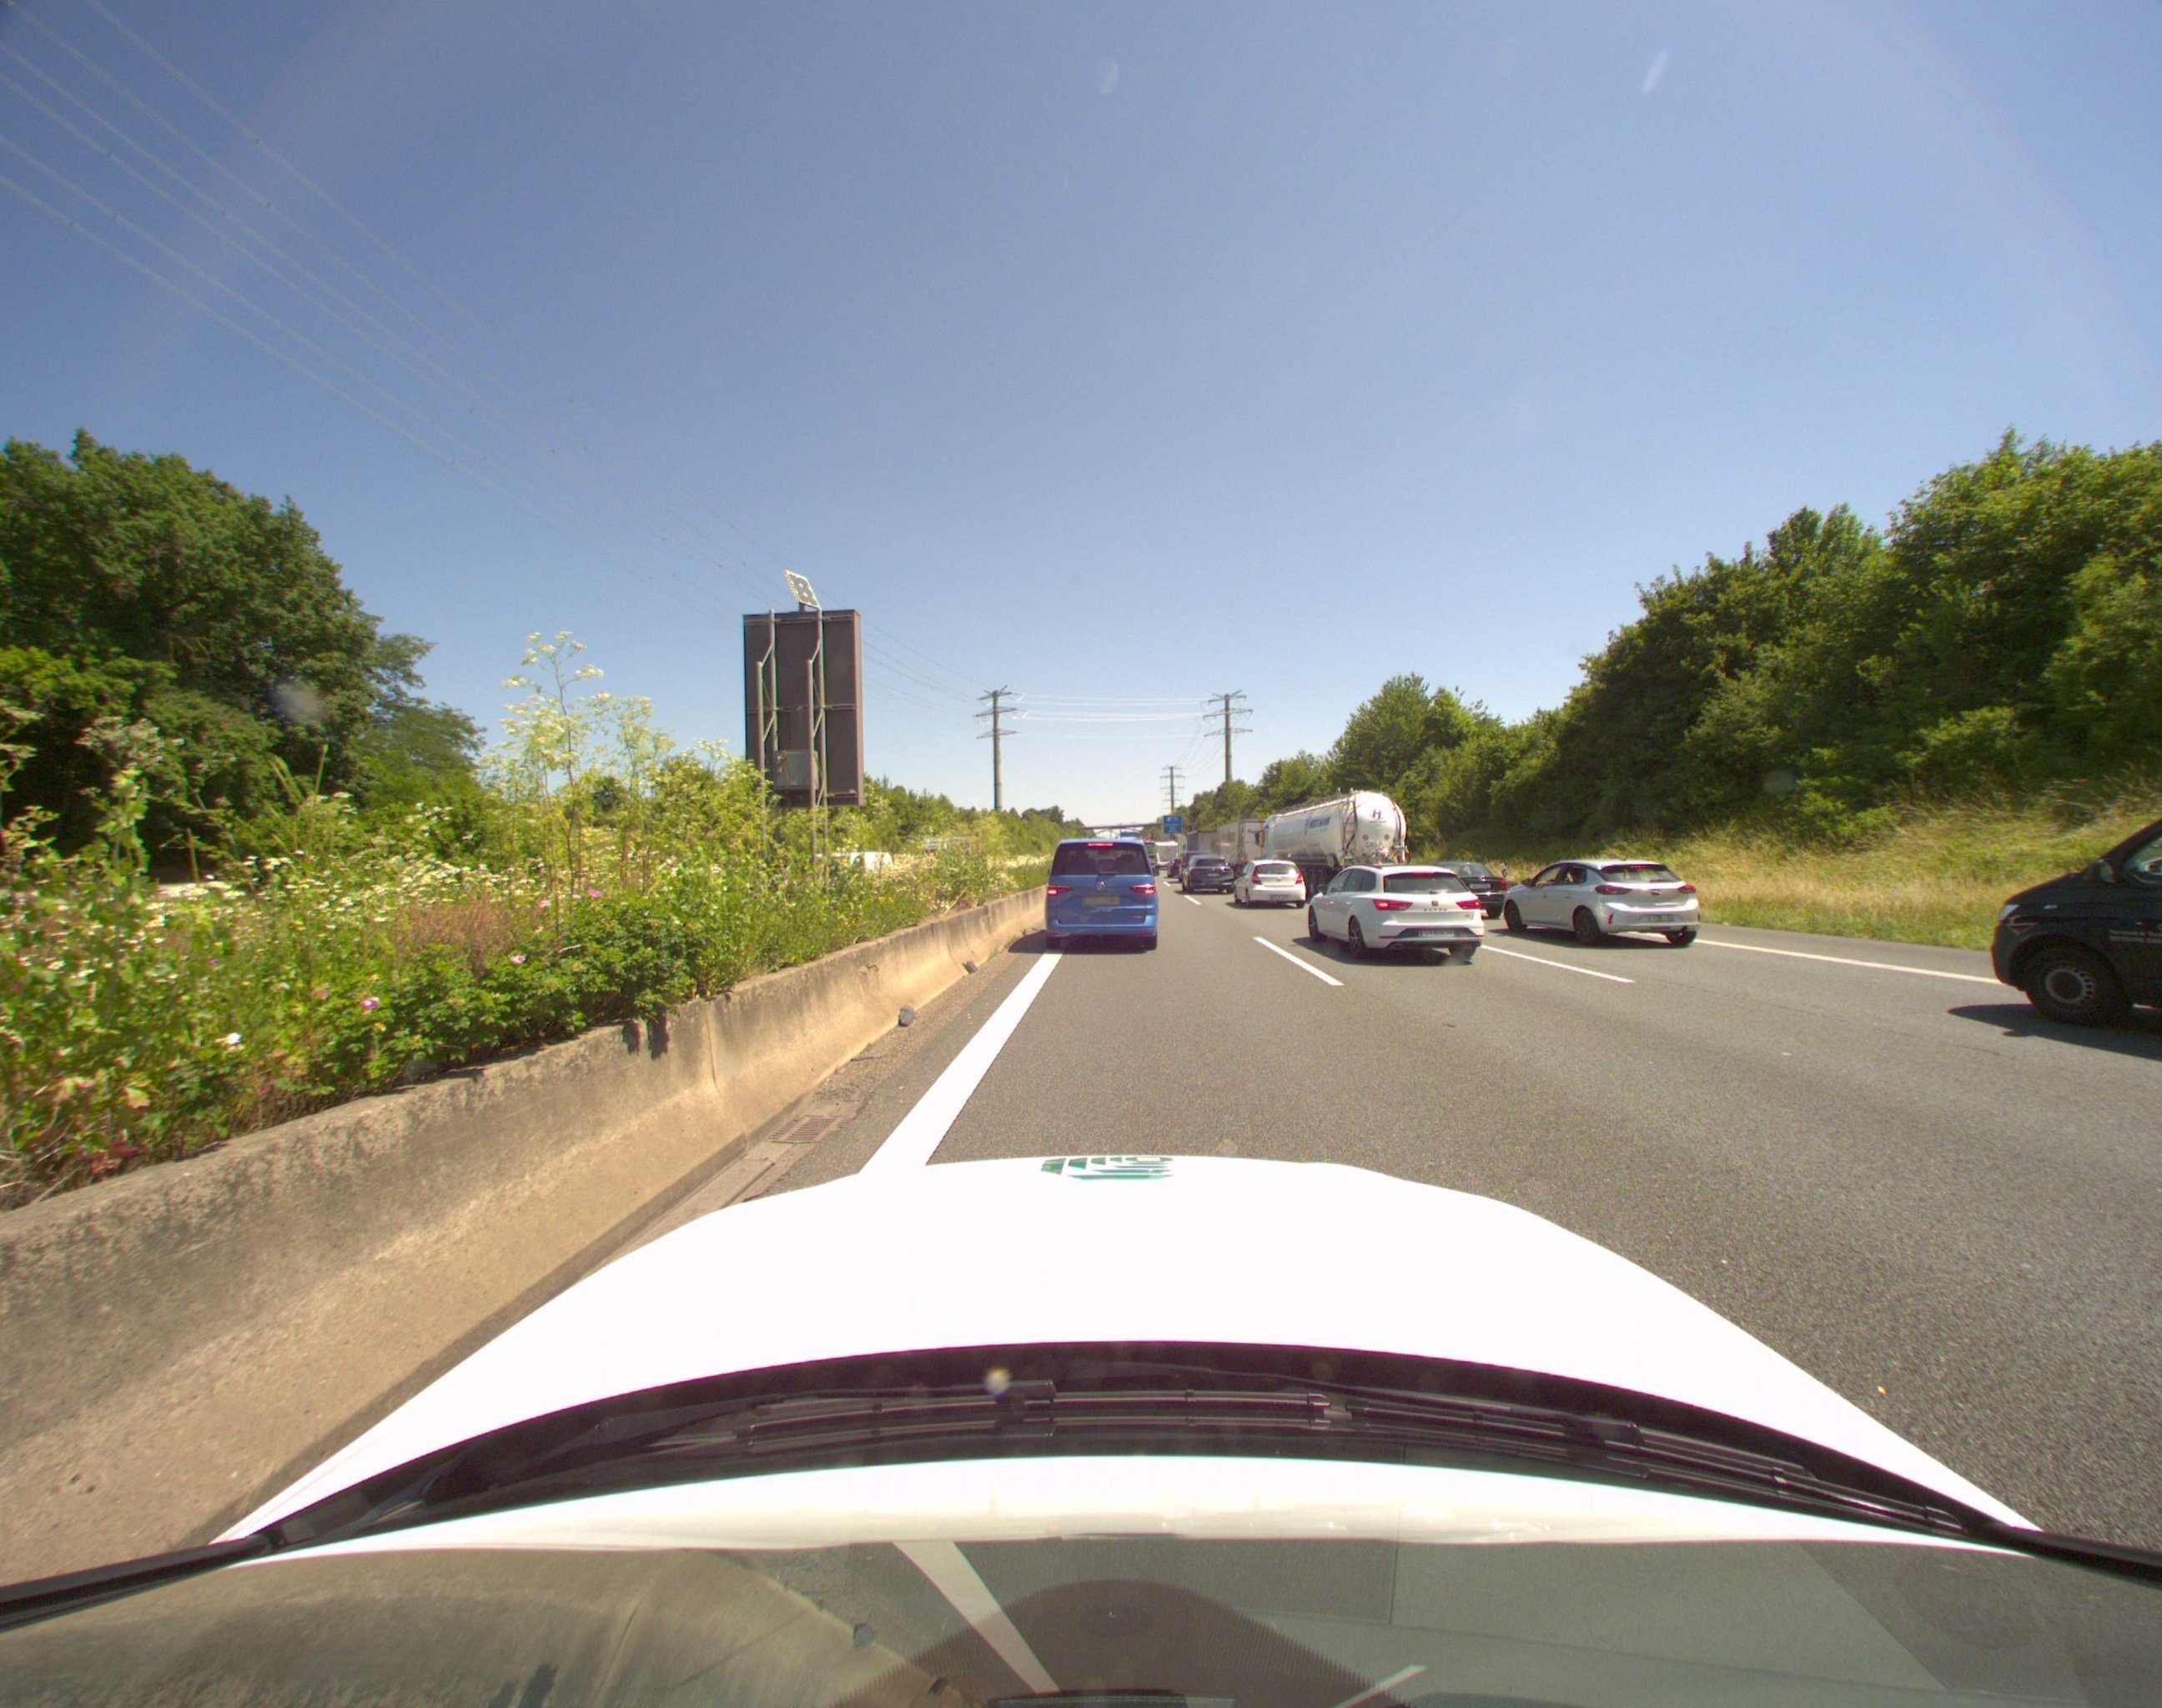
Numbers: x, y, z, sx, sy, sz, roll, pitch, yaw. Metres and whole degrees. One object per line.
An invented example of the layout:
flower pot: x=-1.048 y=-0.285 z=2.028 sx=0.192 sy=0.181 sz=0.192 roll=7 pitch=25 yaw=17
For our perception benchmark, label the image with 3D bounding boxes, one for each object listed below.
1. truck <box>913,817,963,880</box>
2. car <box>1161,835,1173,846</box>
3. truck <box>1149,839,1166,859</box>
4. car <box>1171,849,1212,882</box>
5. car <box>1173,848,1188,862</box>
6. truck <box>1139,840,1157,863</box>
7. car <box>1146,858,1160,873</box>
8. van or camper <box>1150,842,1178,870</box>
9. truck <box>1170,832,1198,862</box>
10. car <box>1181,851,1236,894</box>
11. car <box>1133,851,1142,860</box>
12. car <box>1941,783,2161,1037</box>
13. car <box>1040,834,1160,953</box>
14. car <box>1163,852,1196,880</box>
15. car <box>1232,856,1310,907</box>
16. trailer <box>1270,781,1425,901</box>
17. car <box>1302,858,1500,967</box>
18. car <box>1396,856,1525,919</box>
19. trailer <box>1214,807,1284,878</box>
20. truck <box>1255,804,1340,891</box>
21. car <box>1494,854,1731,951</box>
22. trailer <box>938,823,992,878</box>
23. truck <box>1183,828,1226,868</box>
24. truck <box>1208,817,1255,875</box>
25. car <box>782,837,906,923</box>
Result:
truck: x=-11.937 y=-0.432 z=68.296 sx=3.289 sy=5.051 sz=4.035 roll=-1 pitch=-1 yaw=2
car: x=16.298 y=-2.583 z=154.525 sx=1.985 sy=2.014 sz=4.003 roll=-1 pitch=-1 yaw=3
truck: x=18.599 y=-1.146 z=197.776 sx=3.552 sy=4.517 sz=10.298 roll=-1 pitch=-1 yaw=2
car: x=6.909 y=0.761 z=51.224 sx=1.917 sy=1.925 sz=4.234 roll=-2 pitch=-1 yaw=0
car: x=15.394 y=0.127 z=125.644 sx=1.985 sy=2.014 sz=4.003 roll=-1 pitch=-1 yaw=3
truck: x=11.542 y=-0.435 z=141.380 sx=2.883 sy=3.767 sz=10.149 roll=-1 pitch=-1 yaw=4
car: x=9.984 y=1.595 z=112.624 sx=1.828 sy=1.998 sz=4.004 roll=-2 pitch=-1 yaw=4
van or camper: x=9.385 y=0.239 z=92.440 sx=2.943 sy=3.022 sz=7.110 roll=-1 pitch=-1 yaw=4
truck: x=14.312 y=-0.876 z=114.115 sx=2.883 sy=3.767 sz=13.356 roll=-1 pitch=-1 yaw=4
car: x=5.652 y=0.831 z=36.571 sx=1.991 sy=1.715 sz=4.629 roll=-2 pitch=-1 yaw=3
car: x=14.274 y=0.402 z=205.541 sx=1.986 sy=2.126 sz=4.002 roll=-1 pitch=-1 yaw=2
car: x=9.144 y=0.388 z=5.384 sx=1.905 sy=1.940 sz=4.860 roll=-2 pitch=-1 yaw=3
car: x=0.412 y=0.638 z=15.002 sx=1.912 sy=1.886 sz=4.003 roll=0 pitch=0 yaw=3
car: x=7.441 y=0.920 z=61.868 sx=1.917 sy=1.925 sz=4.234 roll=-2 pitch=-1 yaw=0
car: x=6.029 y=0.863 z=26.313 sx=1.809 sy=1.485 sz=4.004 roll=-2 pitch=-1 yaw=4
trailer: x=10.080 y=-0.366 z=32.494 sx=2.750 sy=3.845 sz=11.492 roll=-2 pitch=-1 yaw=2
car: x=4.956 y=0.849 z=13.304 sx=1.740 sy=1.443 sz=4.317 roll=-2 pitch=-1 yaw=3
car: x=9.703 y=0.826 z=21.172 sx=1.634 sy=1.416 sz=3.992 roll=-3 pitch=-1 yaw=3
trailer: x=11.807 y=-0.695 z=58.659 sx=2.901 sy=4.469 sz=12.160 roll=-2 pitch=-1 yaw=2
truck: x=10.424 y=-0.271 z=39.770 sx=2.782 sy=3.836 sz=5.575 roll=-2 pitch=-1 yaw=2
car: x=9.268 y=0.754 z=14.654 sx=1.724 sy=1.443 sz=4.031 roll=-2 pitch=0 yaw=2
trailer: x=-11.265 y=-0.228 z=80.284 sx=3.308 sy=5.048 sz=9.598 roll=-1 pitch=-1 yaw=3
truck: x=12.672 y=-0.476 z=85.010 sx=2.993 sy=3.767 sz=15.727 roll=-1 pitch=-1 yaw=4
truck: x=12.112 y=-0.607 z=65.818 sx=2.901 sy=4.469 sz=5.145 roll=-2 pitch=-1 yaw=2
car: x=-6.448 y=0.685 z=22.761 sx=1.986 sy=2.147 sz=4.602 roll=-1 pitch=-1 yaw=2
